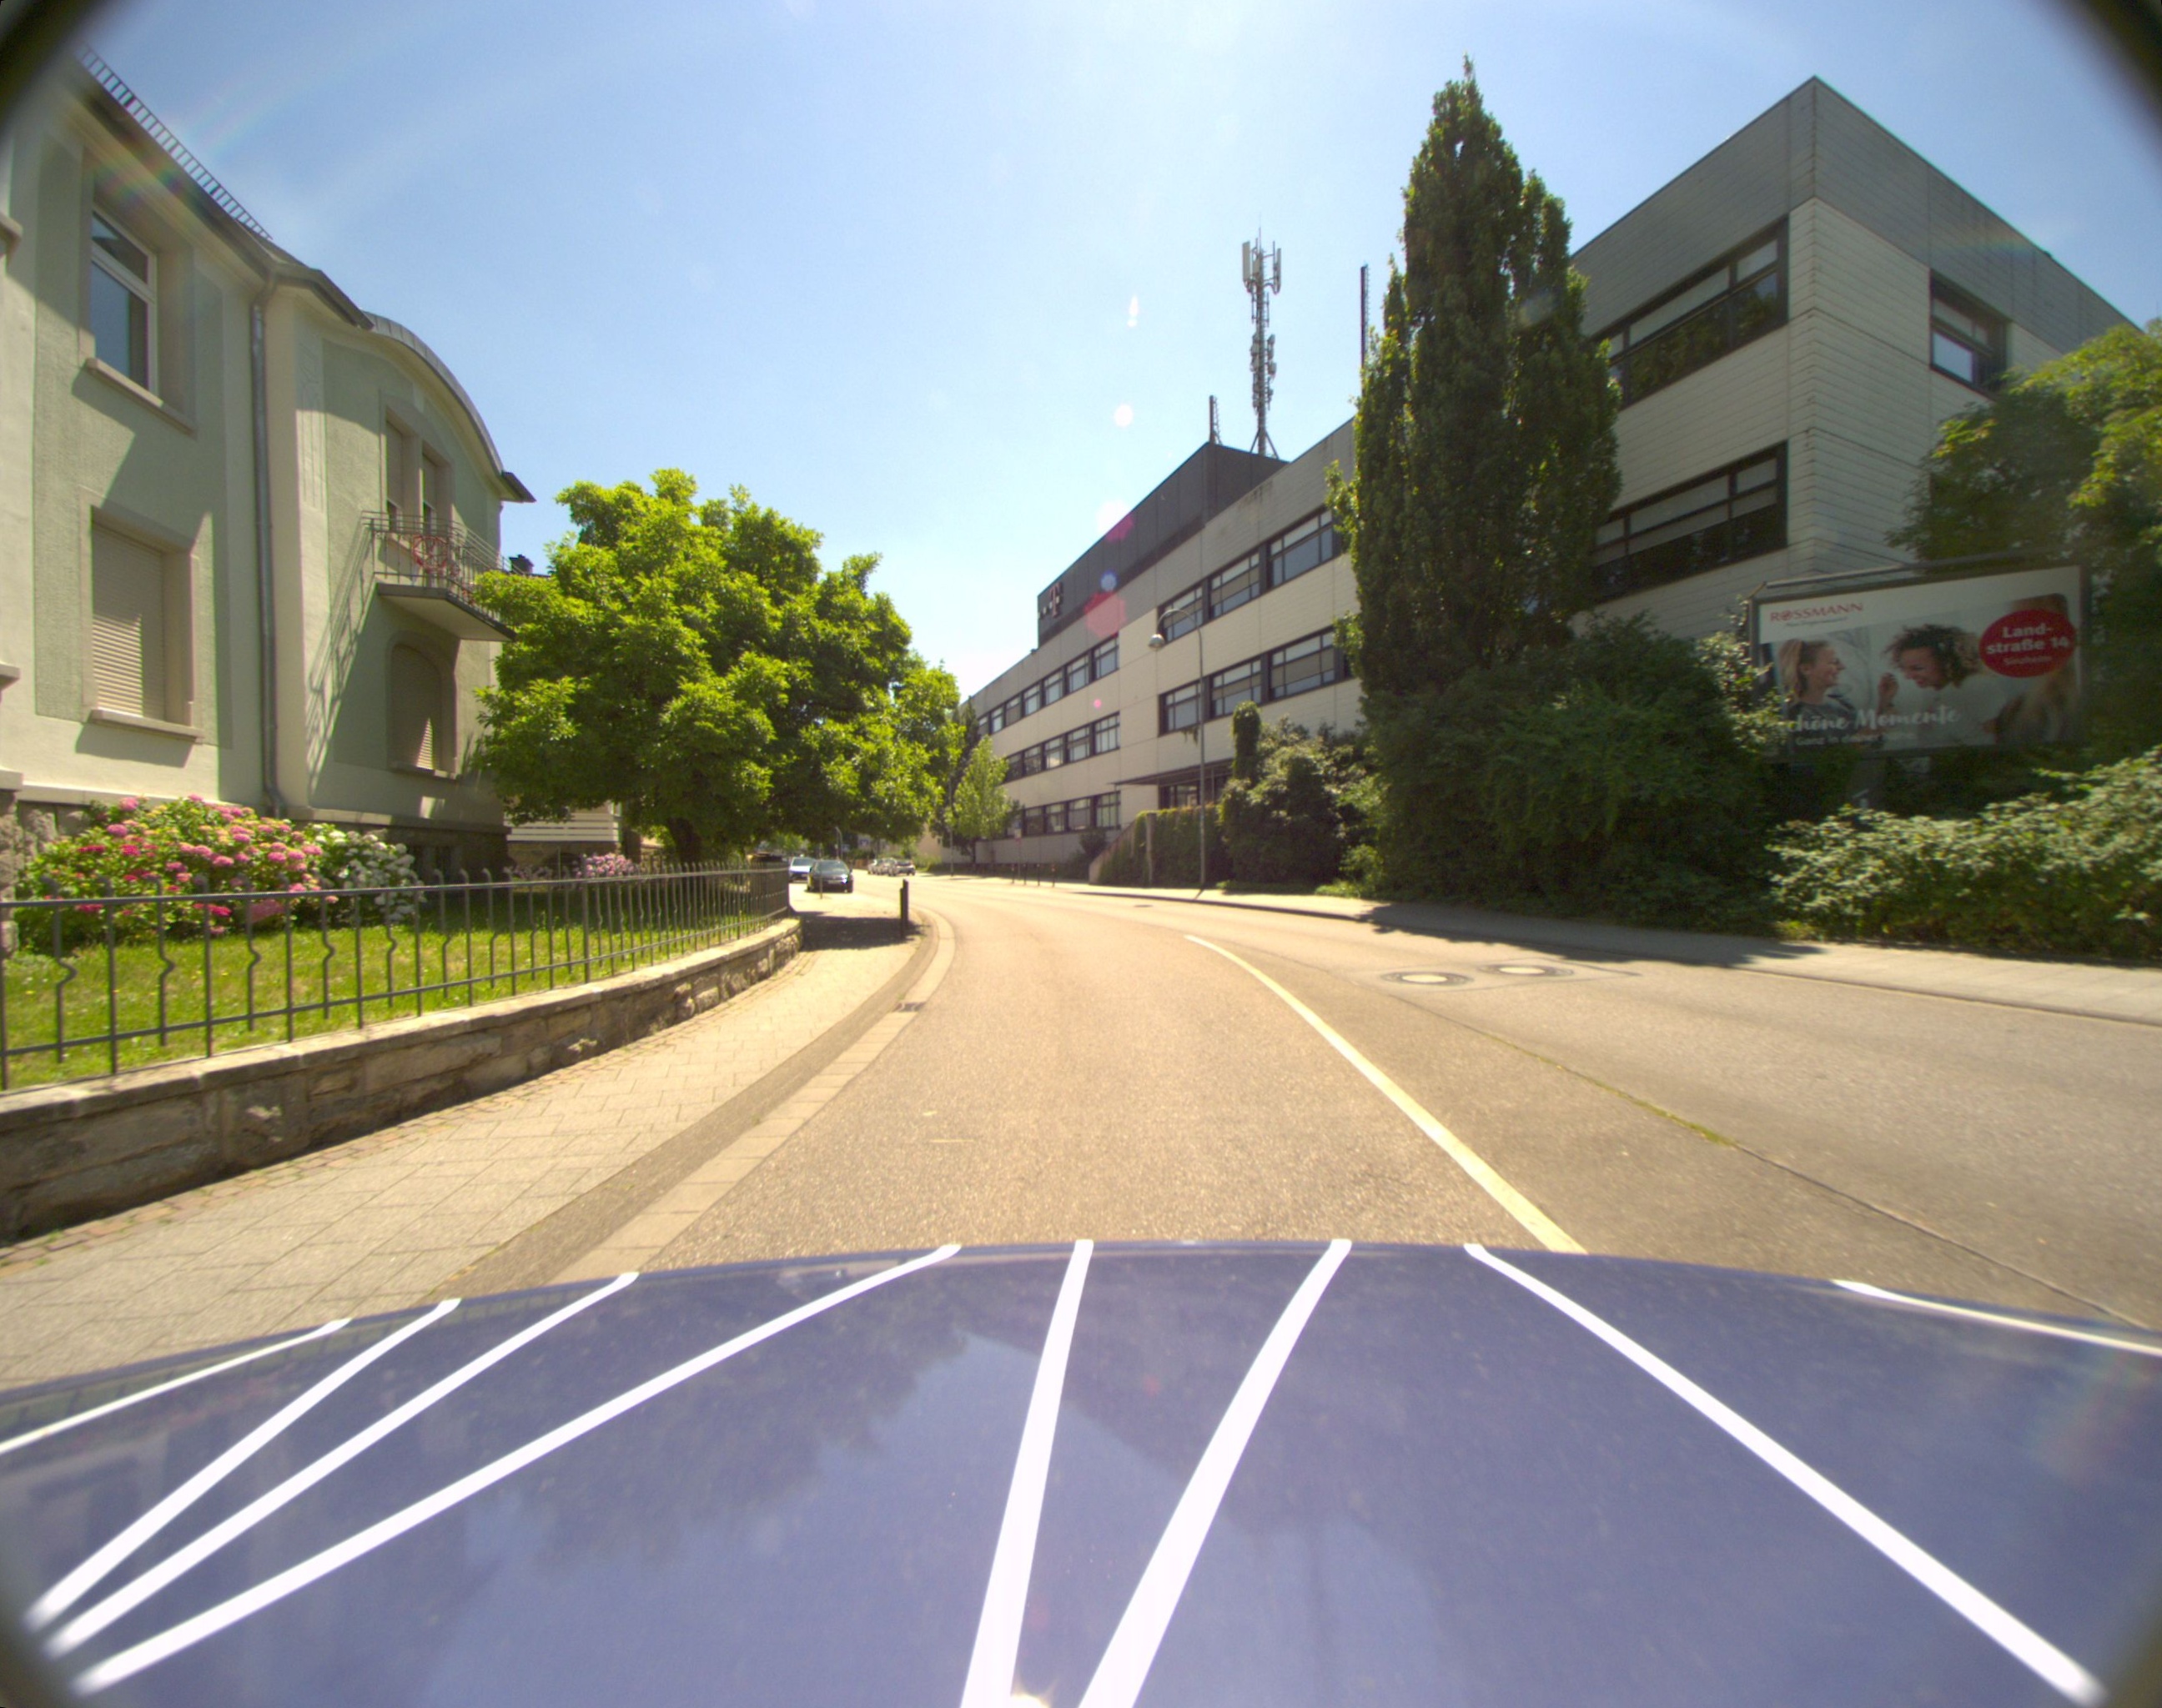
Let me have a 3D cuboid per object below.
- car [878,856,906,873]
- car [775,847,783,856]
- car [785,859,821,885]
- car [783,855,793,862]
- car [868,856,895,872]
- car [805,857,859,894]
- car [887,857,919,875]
[{"bbox_3d":[-17.215,0.932,69.140,1.749,1.494,3.726,-2,0,-25],"label":"car"},{"bbox_3d":[-86.225,-0.720,217.003,2.015,2.364,3.992,-3,1,-22],"label":"car"},{"bbox_3d":[-17.423,1.093,47.515,1.777,1.532,3.992,-1,0,-25],"label":"car"},{"bbox_3d":[-72.633,1.098,188.288,2.002,1.622,3.992,-3,1,-23],"label":"car"},{"bbox_3d":[-19.375,0.932,73.653,1.777,1.532,3.992,0,0,-25],"label":"car"},{"bbox_3d":[-11.271,0.934,34.249,1.777,1.532,3.992,-1,0,-25],"label":"car"},{"bbox_3d":[-15.073,0.978,64.259,1.739,1.441,4.021,-2,1,-25],"label":"car"}]
